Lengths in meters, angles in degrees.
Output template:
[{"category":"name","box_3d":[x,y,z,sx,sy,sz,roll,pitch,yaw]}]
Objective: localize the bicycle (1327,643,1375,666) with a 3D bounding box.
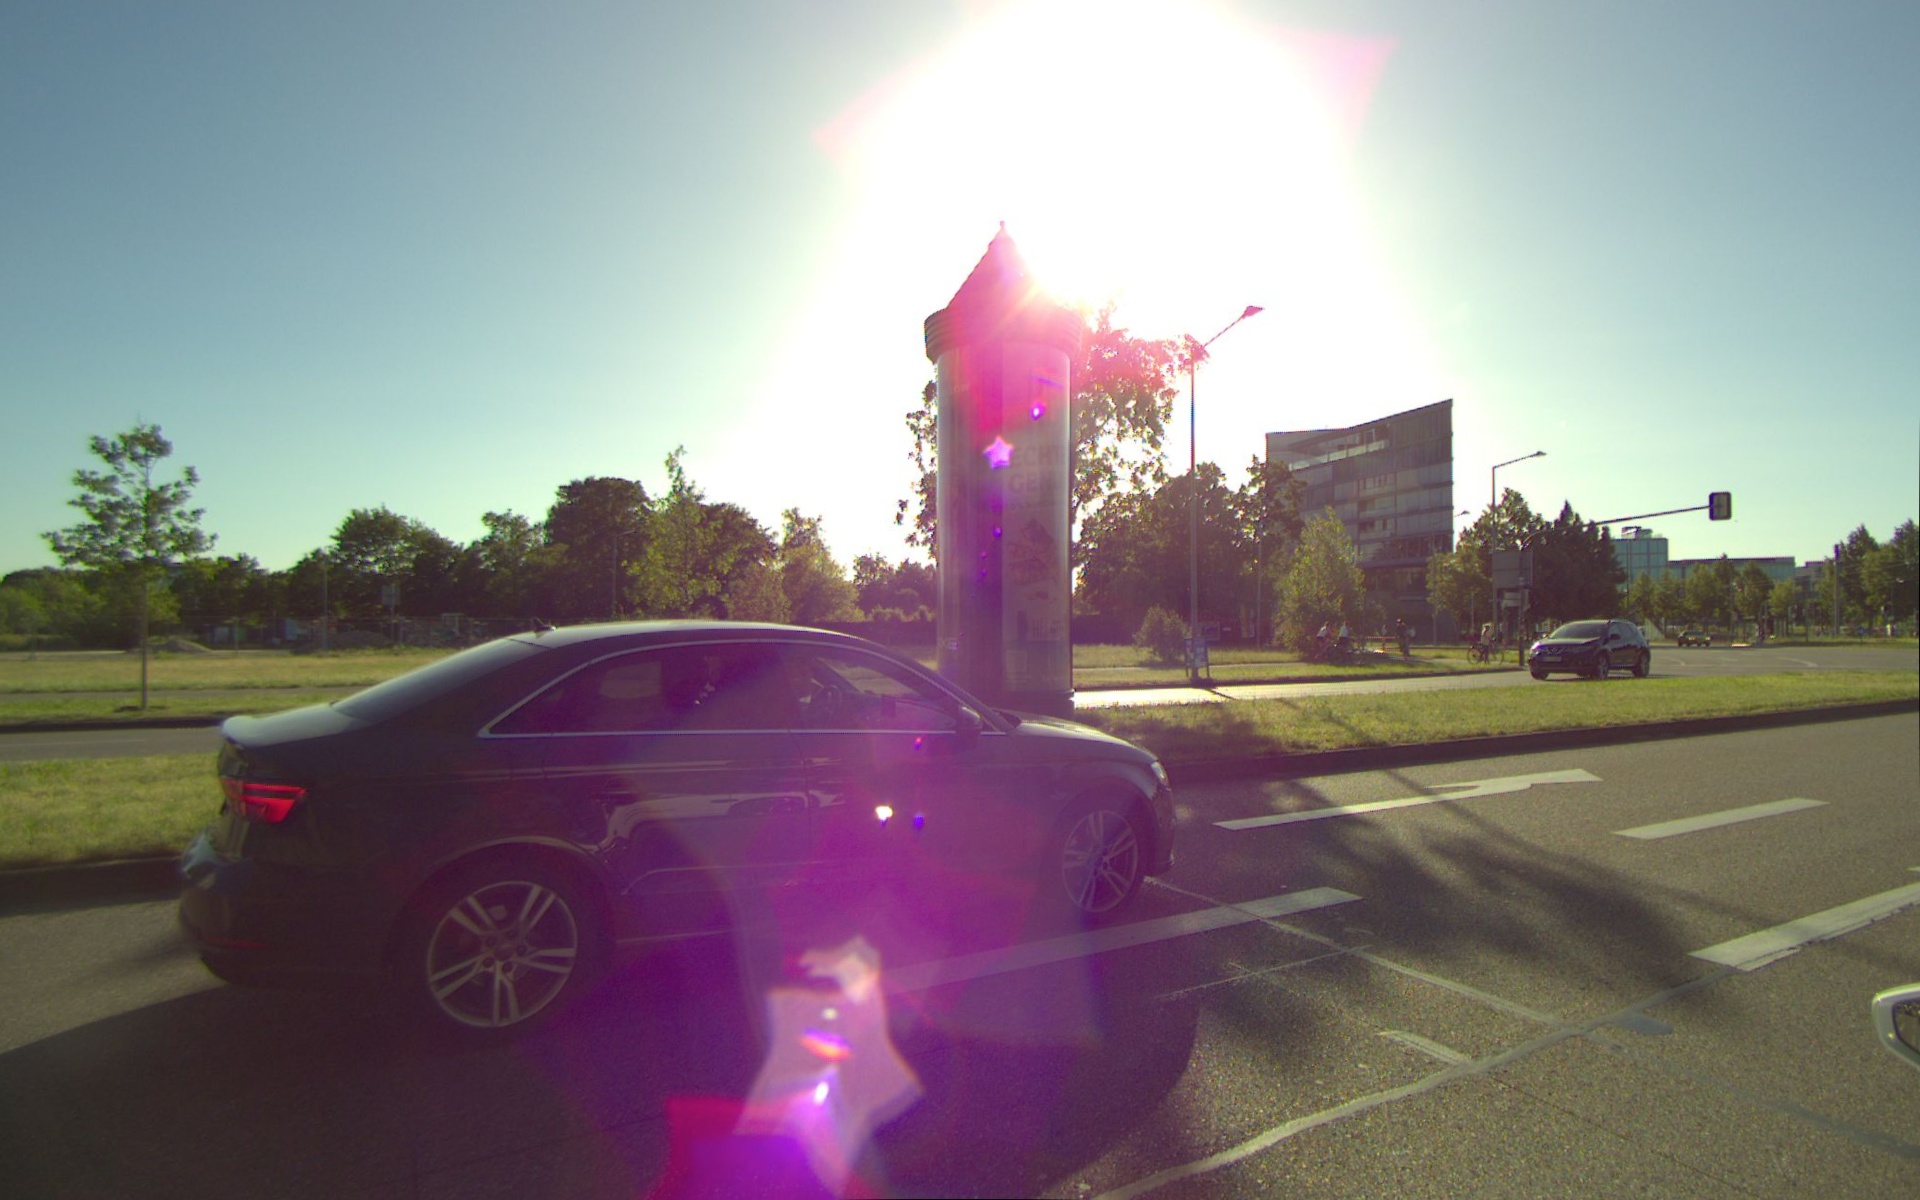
[{"category":"bicycle","box_3d":[15.094,2.103,38.795,1.864,0.864,0.613,0,-1,-26]}]

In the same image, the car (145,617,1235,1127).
[{"category":"car","box_3d":[-0.880,0.804,4.684,4.311,1.398,1.750,1,-1,-33]}]

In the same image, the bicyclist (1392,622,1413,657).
[{"category":"bicyclist","box_3d":[20.200,1.786,45.845,0.840,1.584,0.430,0,-1,-26]}]

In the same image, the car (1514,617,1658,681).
[{"category":"car","box_3d":[18.653,1.440,29.873,4.691,1.762,1.981,2,-2,-35]}]

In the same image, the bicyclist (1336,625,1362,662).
[{"category":"bicyclist","box_3d":[15.028,1.671,38.780,0.709,1.411,0.613,0,-1,-26]}]

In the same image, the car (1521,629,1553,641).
[{"category":"car","box_3d":[85.544,5.167,149.010,2.412,1.808,5.018,0,-1,9]}]

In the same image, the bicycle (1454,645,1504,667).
[{"category":"bicycle","box_3d":[21.524,2.301,41.684,0.608,0.864,1.879,0,-2,-23]}]

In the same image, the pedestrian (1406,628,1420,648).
[{"category":"pedestrian","box_3d":[38.557,3.244,85.455,0.872,1.651,0.758,-1,-2,39]}]

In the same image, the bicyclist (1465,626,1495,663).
[{"category":"bicyclist","box_3d":[21.547,1.830,41.647,0.608,1.537,0.920,0,-1,-23]}]

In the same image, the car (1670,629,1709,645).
[{"category":"car","box_3d":[72.127,3.661,99.376,1.969,1.561,4.326,-1,-2,19]}]

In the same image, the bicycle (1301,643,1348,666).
[{"category":"bicycle","box_3d":[14.362,2.145,39.608,1.864,0.864,0.613,0,-1,-26]}]

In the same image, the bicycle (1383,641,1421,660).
[{"category":"bicycle","box_3d":[20.164,2.293,45.808,1.864,0.864,0.488,0,-1,-26]}]

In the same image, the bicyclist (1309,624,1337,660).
[{"category":"bicyclist","box_3d":[14.322,1.661,39.604,0.826,1.411,0.613,0,-1,-26]}]
